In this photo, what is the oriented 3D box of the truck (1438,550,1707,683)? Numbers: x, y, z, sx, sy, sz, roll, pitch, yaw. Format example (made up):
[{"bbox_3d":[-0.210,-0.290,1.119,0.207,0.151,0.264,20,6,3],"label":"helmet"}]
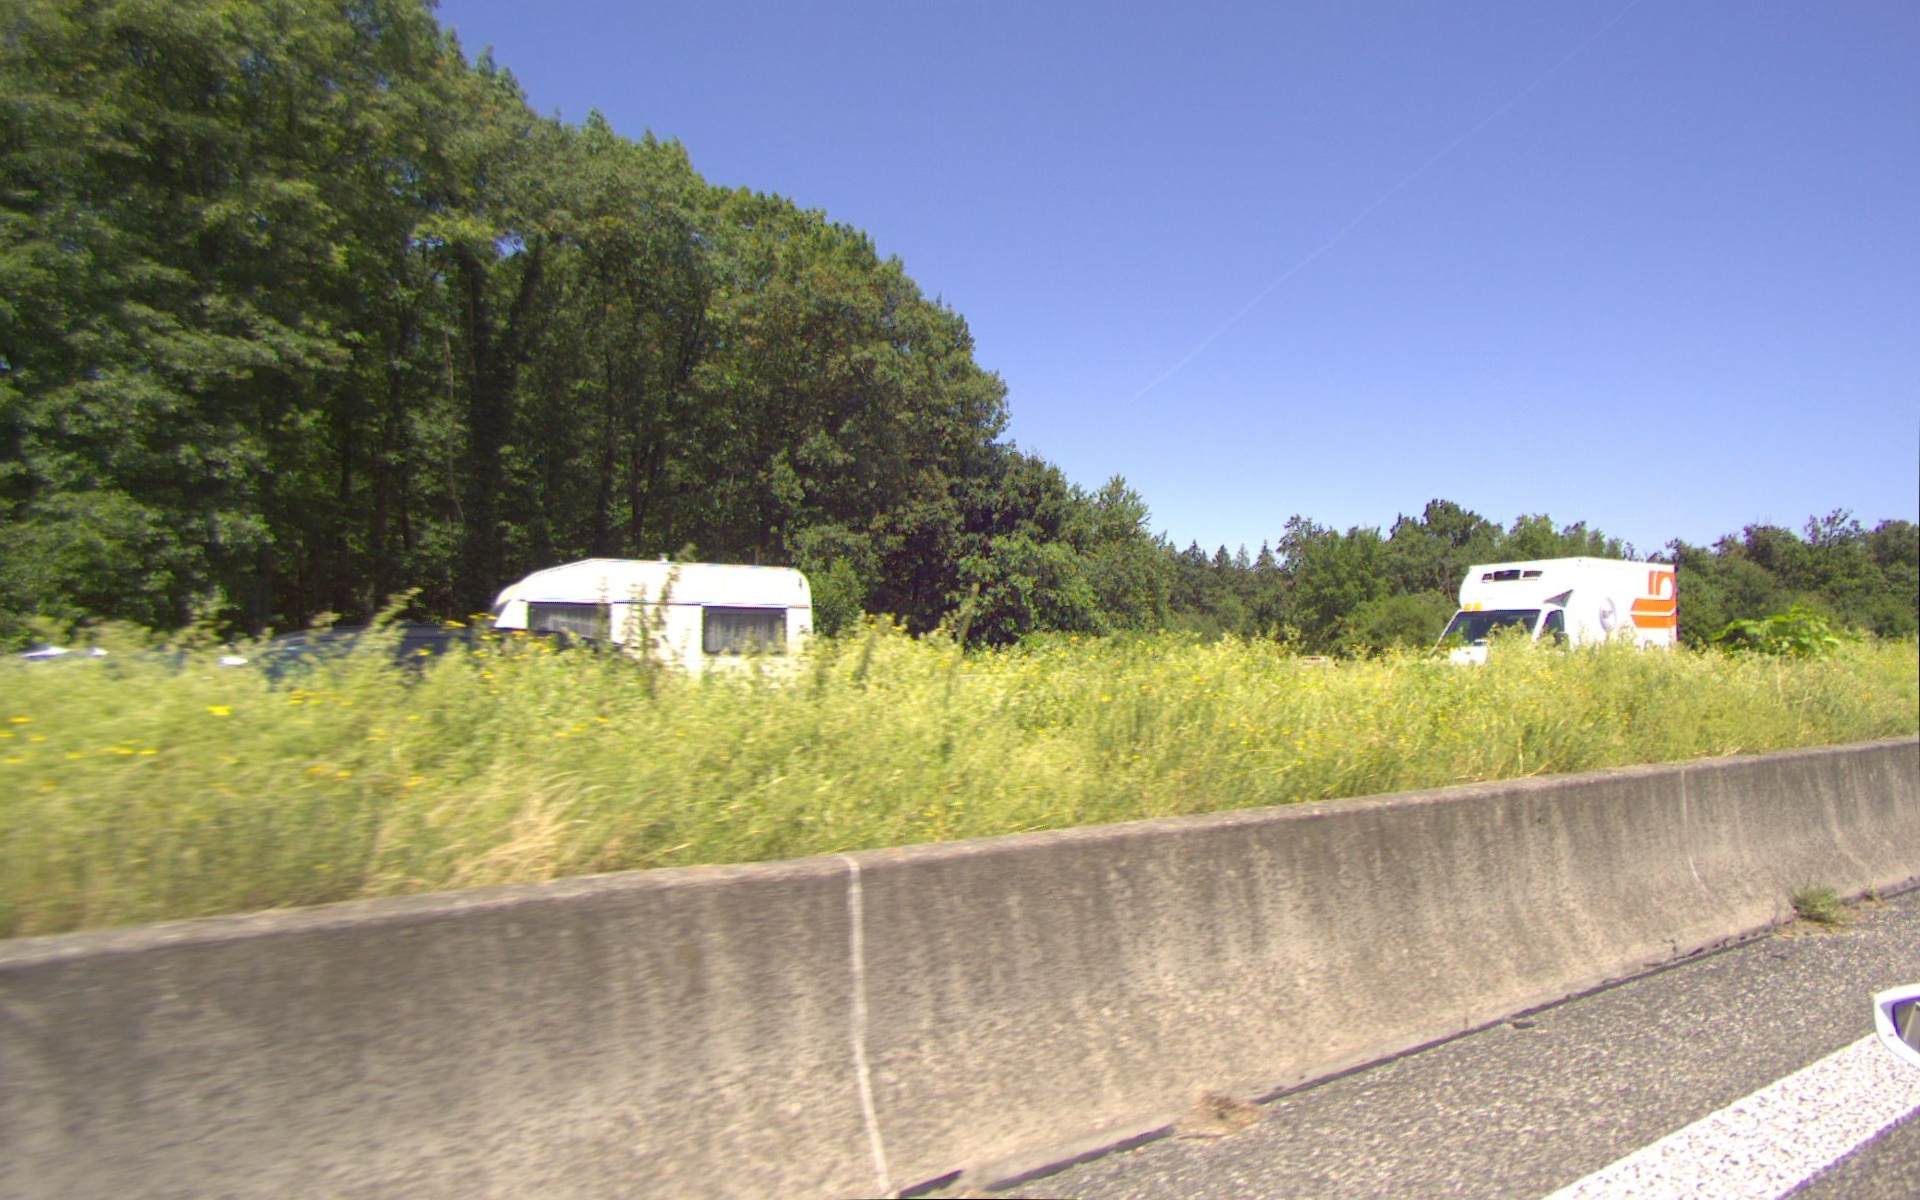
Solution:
[{"bbox_3d":[12.585,0.399,20.491,6.014,2.357,2.297,2,-1,-33],"label":"truck"}]

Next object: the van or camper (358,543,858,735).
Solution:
[{"bbox_3d":[-4.460,0.505,13.162,5.822,2.040,2.209,2,-1,-32],"label":"van or camper"}]

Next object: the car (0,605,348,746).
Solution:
[{"bbox_3d":[-8.581,0.721,10.231,3.956,1.259,1.695,2,-1,-32],"label":"car"}]
